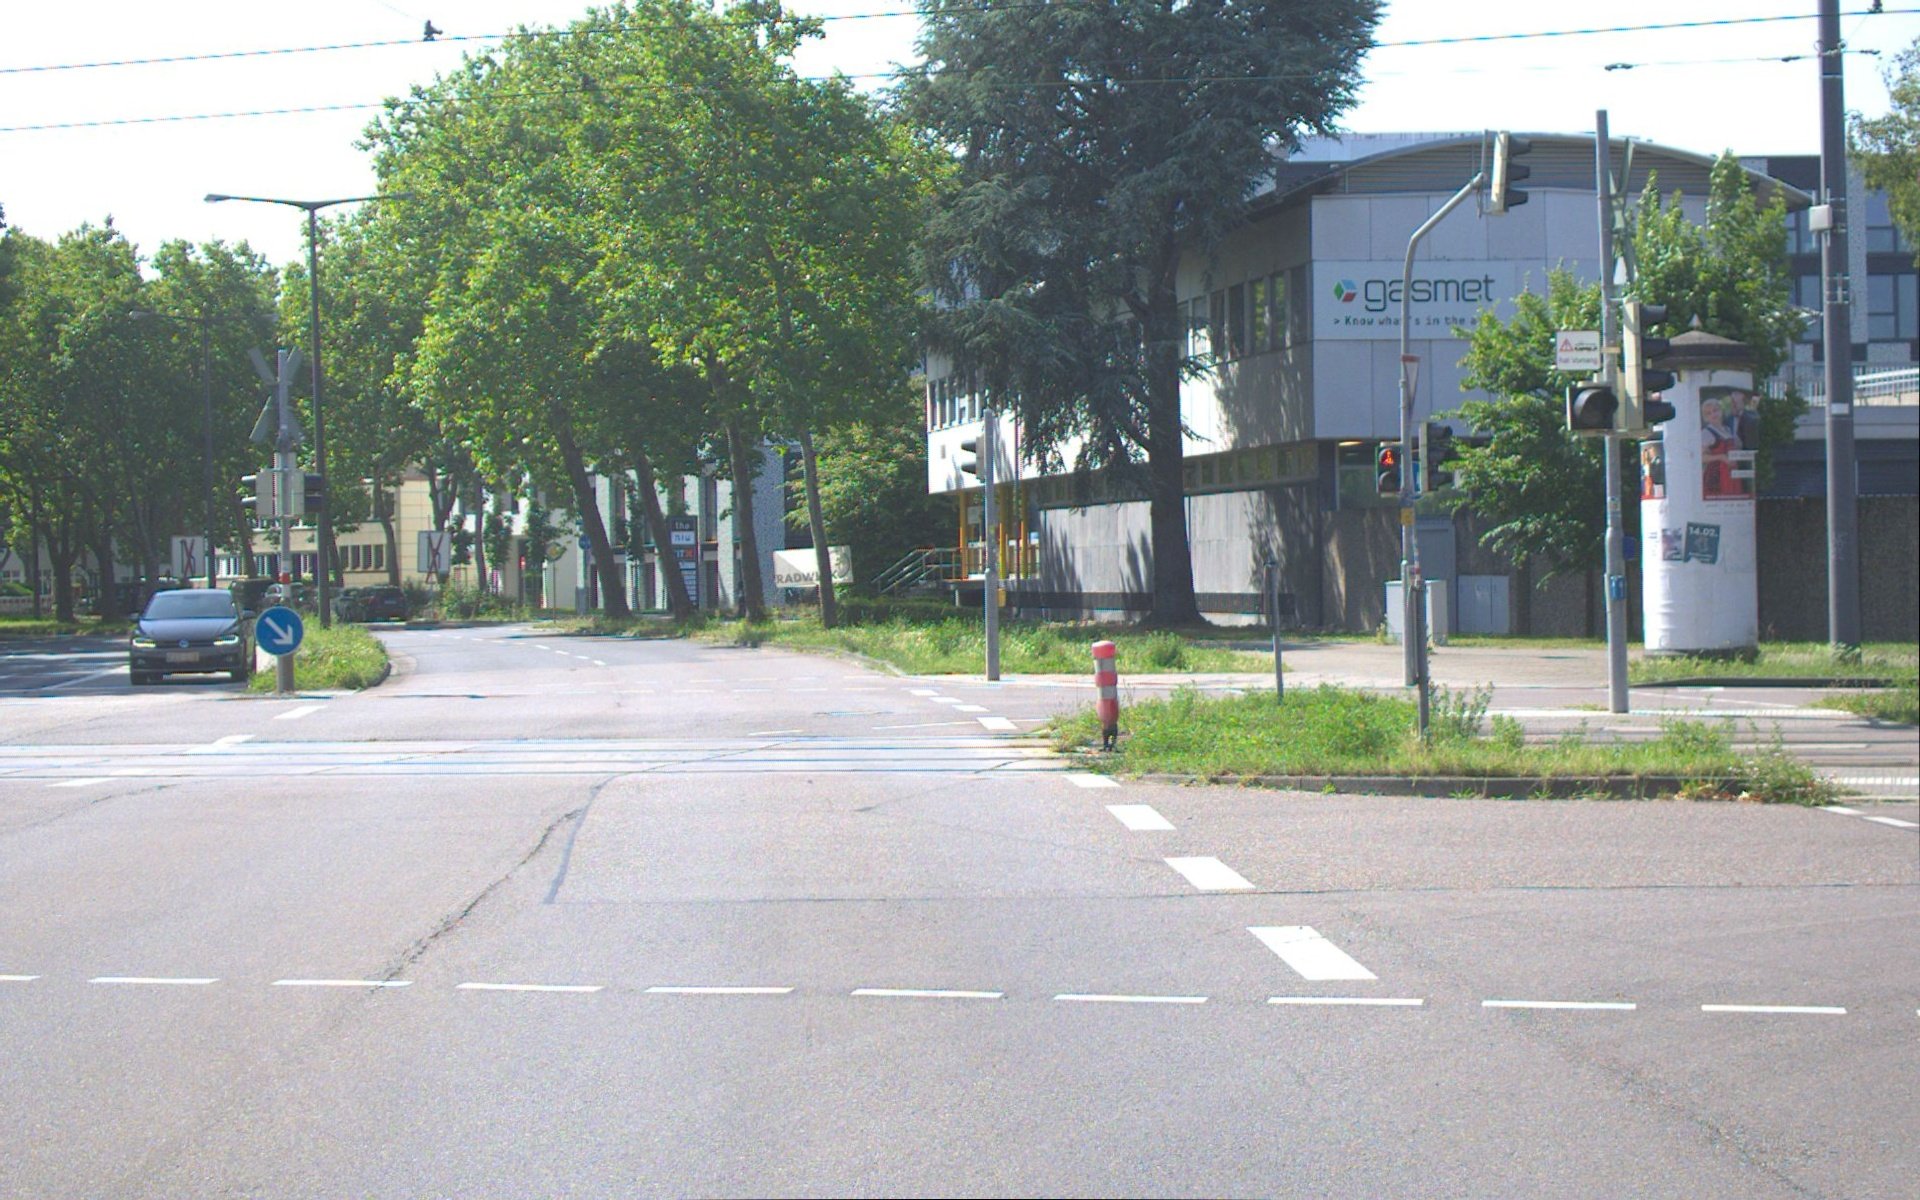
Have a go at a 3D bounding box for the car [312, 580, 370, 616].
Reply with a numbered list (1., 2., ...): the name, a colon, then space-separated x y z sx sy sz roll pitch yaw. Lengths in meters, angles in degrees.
1. car: -26.742 -0.082 148.460 1.706 1.482 4.102 -2 1 -21

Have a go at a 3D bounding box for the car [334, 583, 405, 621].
1. car: -24.644 0.086 143.444 1.706 1.482 4.720 -3 1 -25

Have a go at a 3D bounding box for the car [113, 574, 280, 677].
1. car: -11.853 0.363 53.603 1.694 1.503 4.130 -1 1 -1
